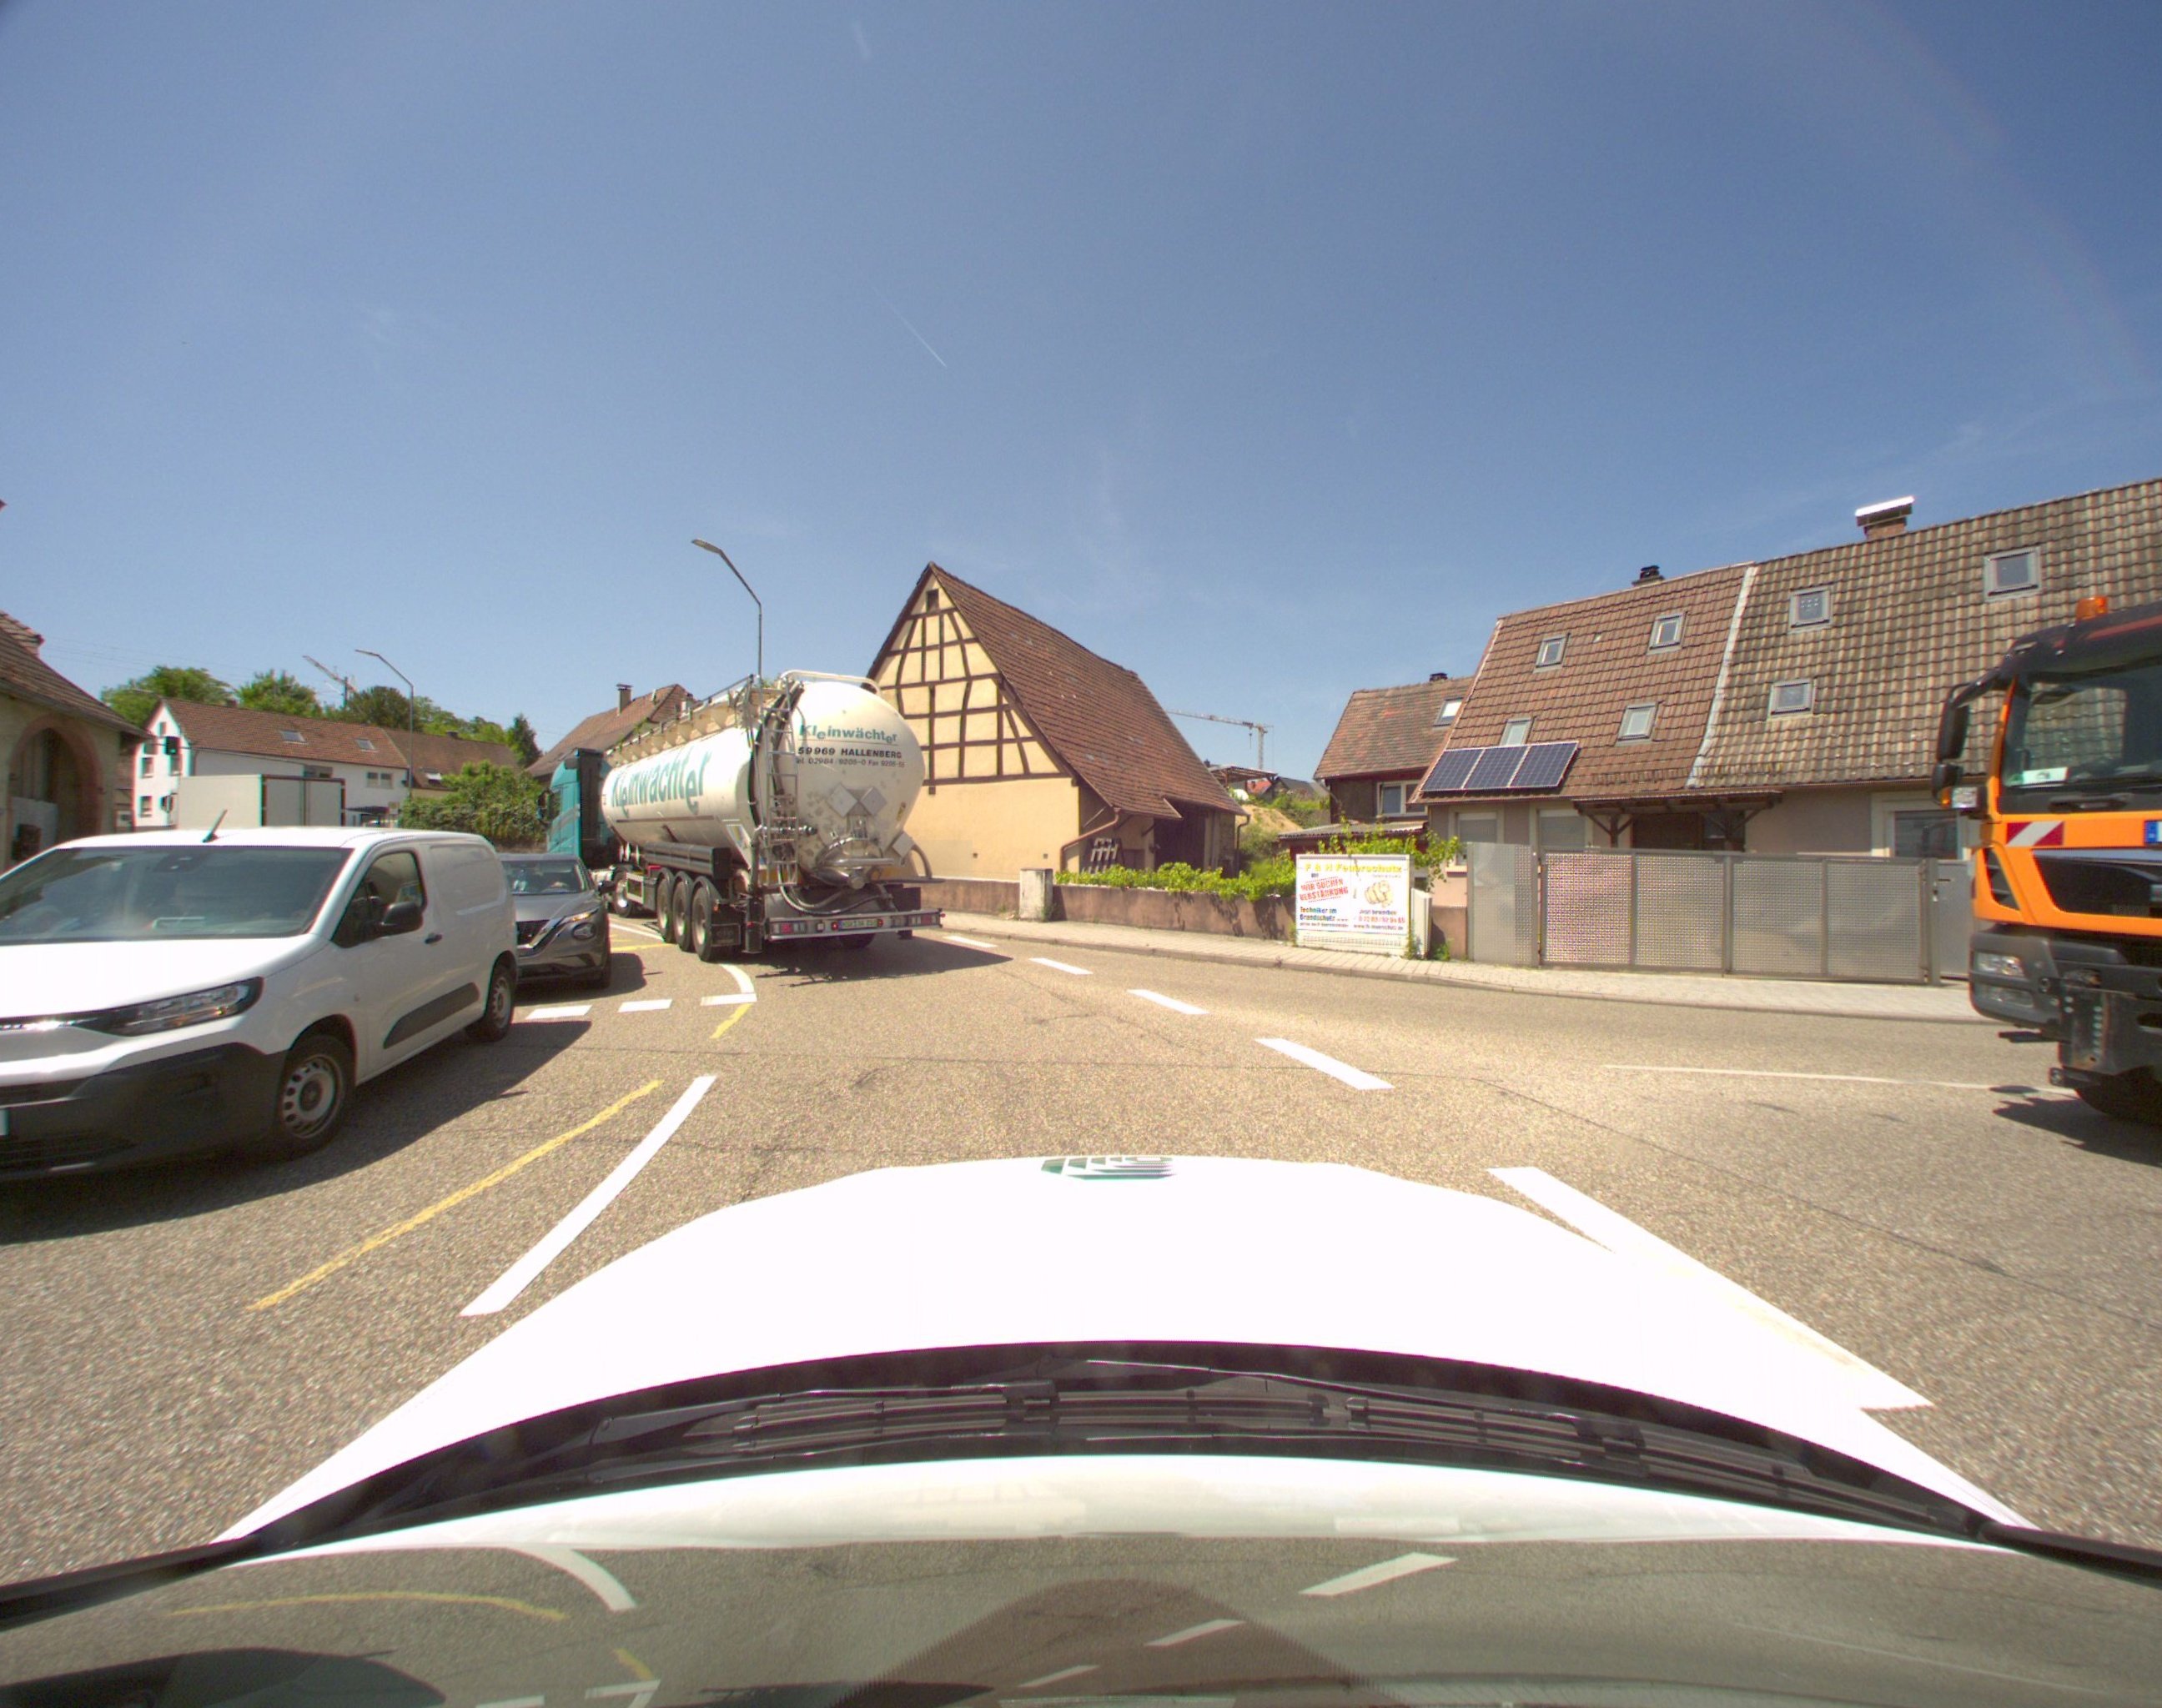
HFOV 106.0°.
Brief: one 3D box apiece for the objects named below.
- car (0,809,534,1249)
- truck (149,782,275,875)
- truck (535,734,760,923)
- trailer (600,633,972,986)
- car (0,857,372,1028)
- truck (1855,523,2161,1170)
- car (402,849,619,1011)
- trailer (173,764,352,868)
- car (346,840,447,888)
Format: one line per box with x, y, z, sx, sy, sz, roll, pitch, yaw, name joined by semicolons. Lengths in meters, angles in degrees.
-5.335;0.697;5.339;1.880;1.785;4.491;0;0;-20;car
-44.489;-1.243;41.693;5.859;4.401;3.134;1;-1;32;truck
-10.746;-0.558;20.013;5.508;3.965;3.016;1;0;41;truck
-6.130;-0.533;14.599;2.975;3.948;11.489;2;0;-37;trailer
-9.941;0.797;9.258;1.846;1.442;3.966;0;1;-26;car
8.979;0.106;4.546;7.430;3.181;2.663;3;-2;-7;truck
-6.883;0.752;10.128;1.804;1.524;3.960;1;0;-32;car
-38.388;-1.599;37.999;12.334;4.277;3.162;1;0;32;trailer
-24.113;0.349;28.664;3.559;1.585;1.799;0;-2;35;car
